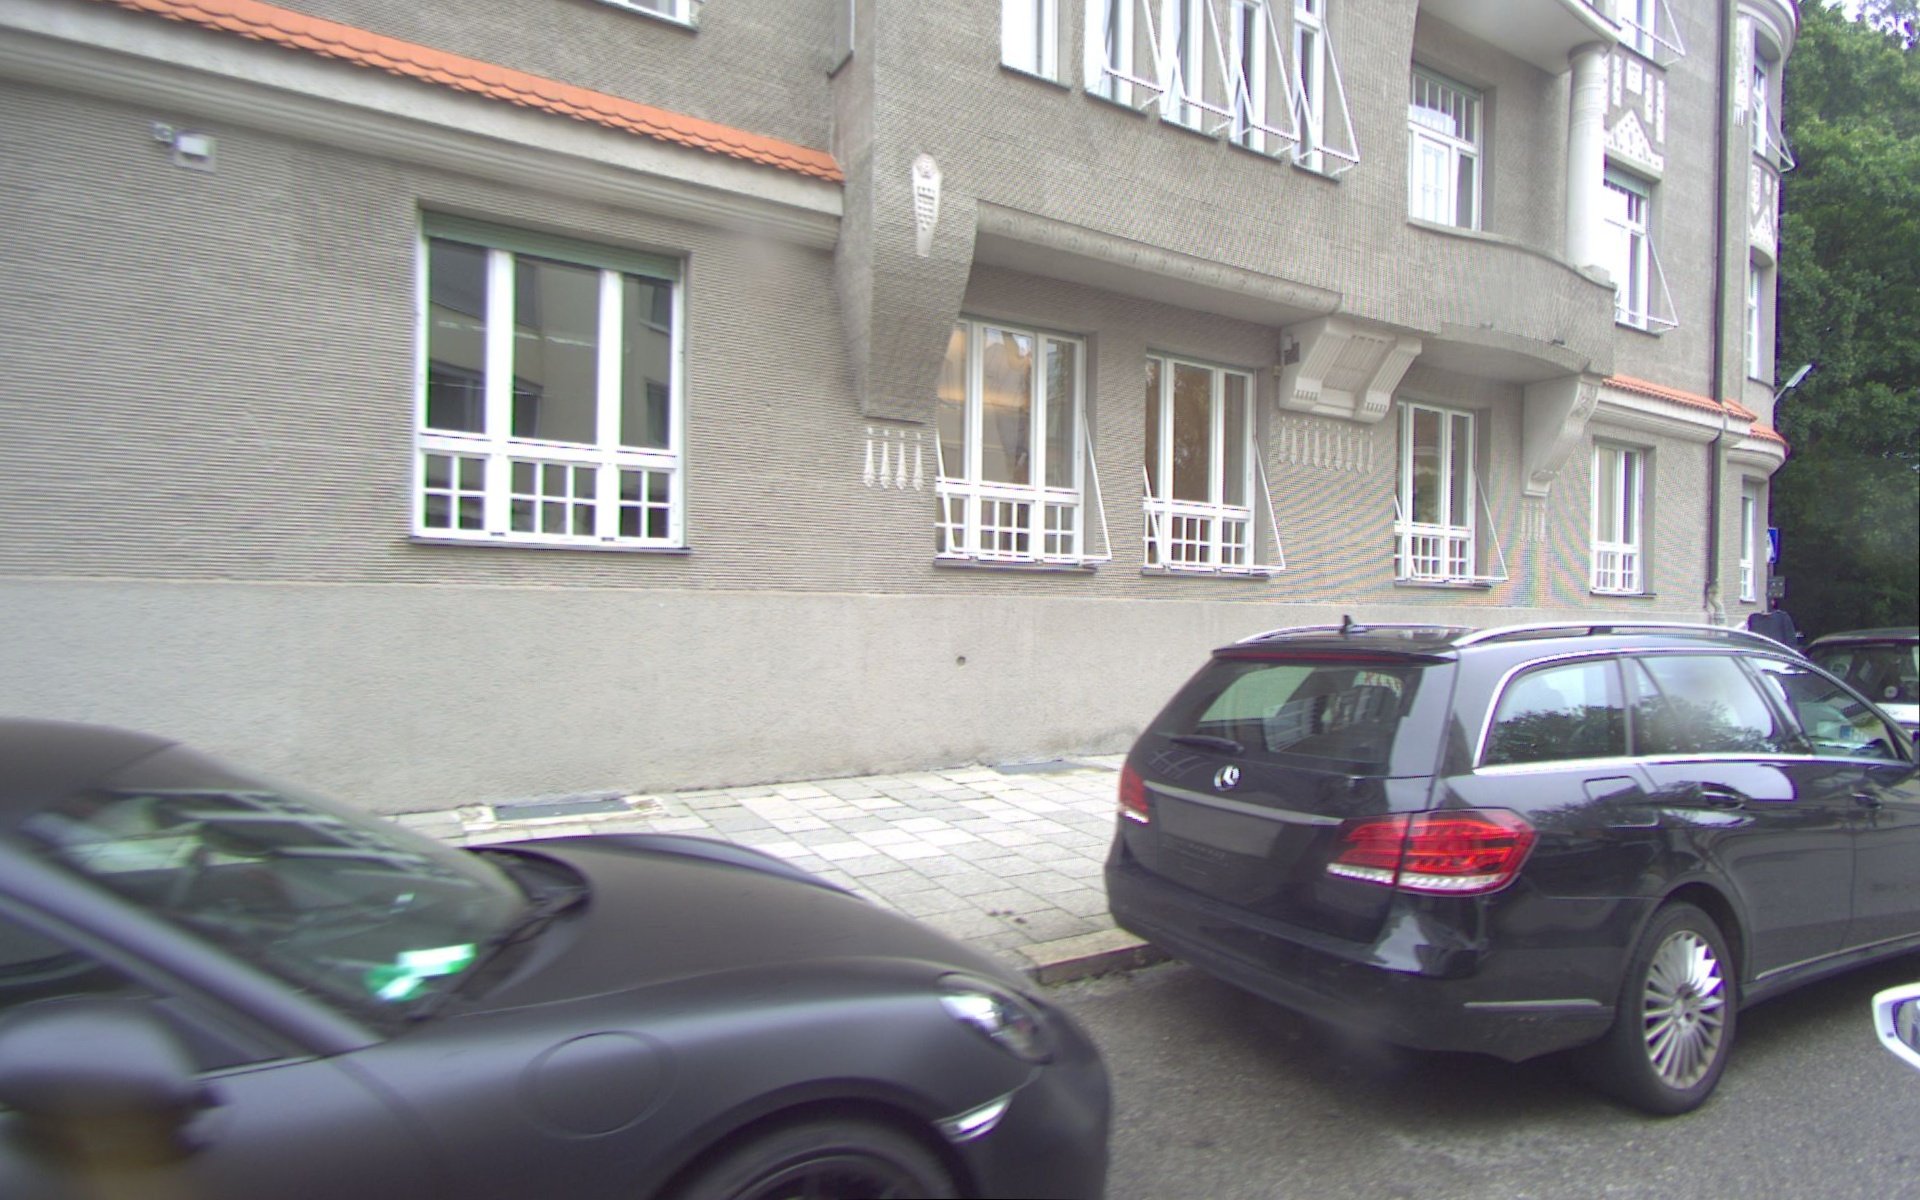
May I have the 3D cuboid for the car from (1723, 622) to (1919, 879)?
[{"bbox_3d":[6.983,0.948,6.968,2.876,1.535,1.696,1,0,-29],"label":"car"}]

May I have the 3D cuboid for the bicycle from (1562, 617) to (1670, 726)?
[{"bbox_3d":[8.858,0.934,13.544,1.658,1.367,0.614,1,0,-35],"label":"bicycle"}]

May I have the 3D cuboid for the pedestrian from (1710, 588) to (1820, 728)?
[{"bbox_3d":[10.863,0.750,13.565,0.924,1.811,0.836,1,0,-27],"label":"pedestrian"}]

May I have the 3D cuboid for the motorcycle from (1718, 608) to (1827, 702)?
[{"bbox_3d":[13.566,0.896,16.749,2.123,1.460,0.732,1,0,-32],"label":"motorcycle"}]

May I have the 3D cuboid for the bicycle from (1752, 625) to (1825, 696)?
[{"bbox_3d":[15.973,1.130,19.400,0.725,1.273,1.923,1,0,29],"label":"bicycle"}]

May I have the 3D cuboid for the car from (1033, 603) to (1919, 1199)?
[{"bbox_3d":[2.746,0.824,4.312,4.649,1.535,1.748,1,-1,-28],"label":"car"}]

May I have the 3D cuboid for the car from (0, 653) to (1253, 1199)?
[{"bbox_3d":[-1.609,0.821,1.749,4.047,1.349,1.747,1,-1,-29],"label":"car"}]
